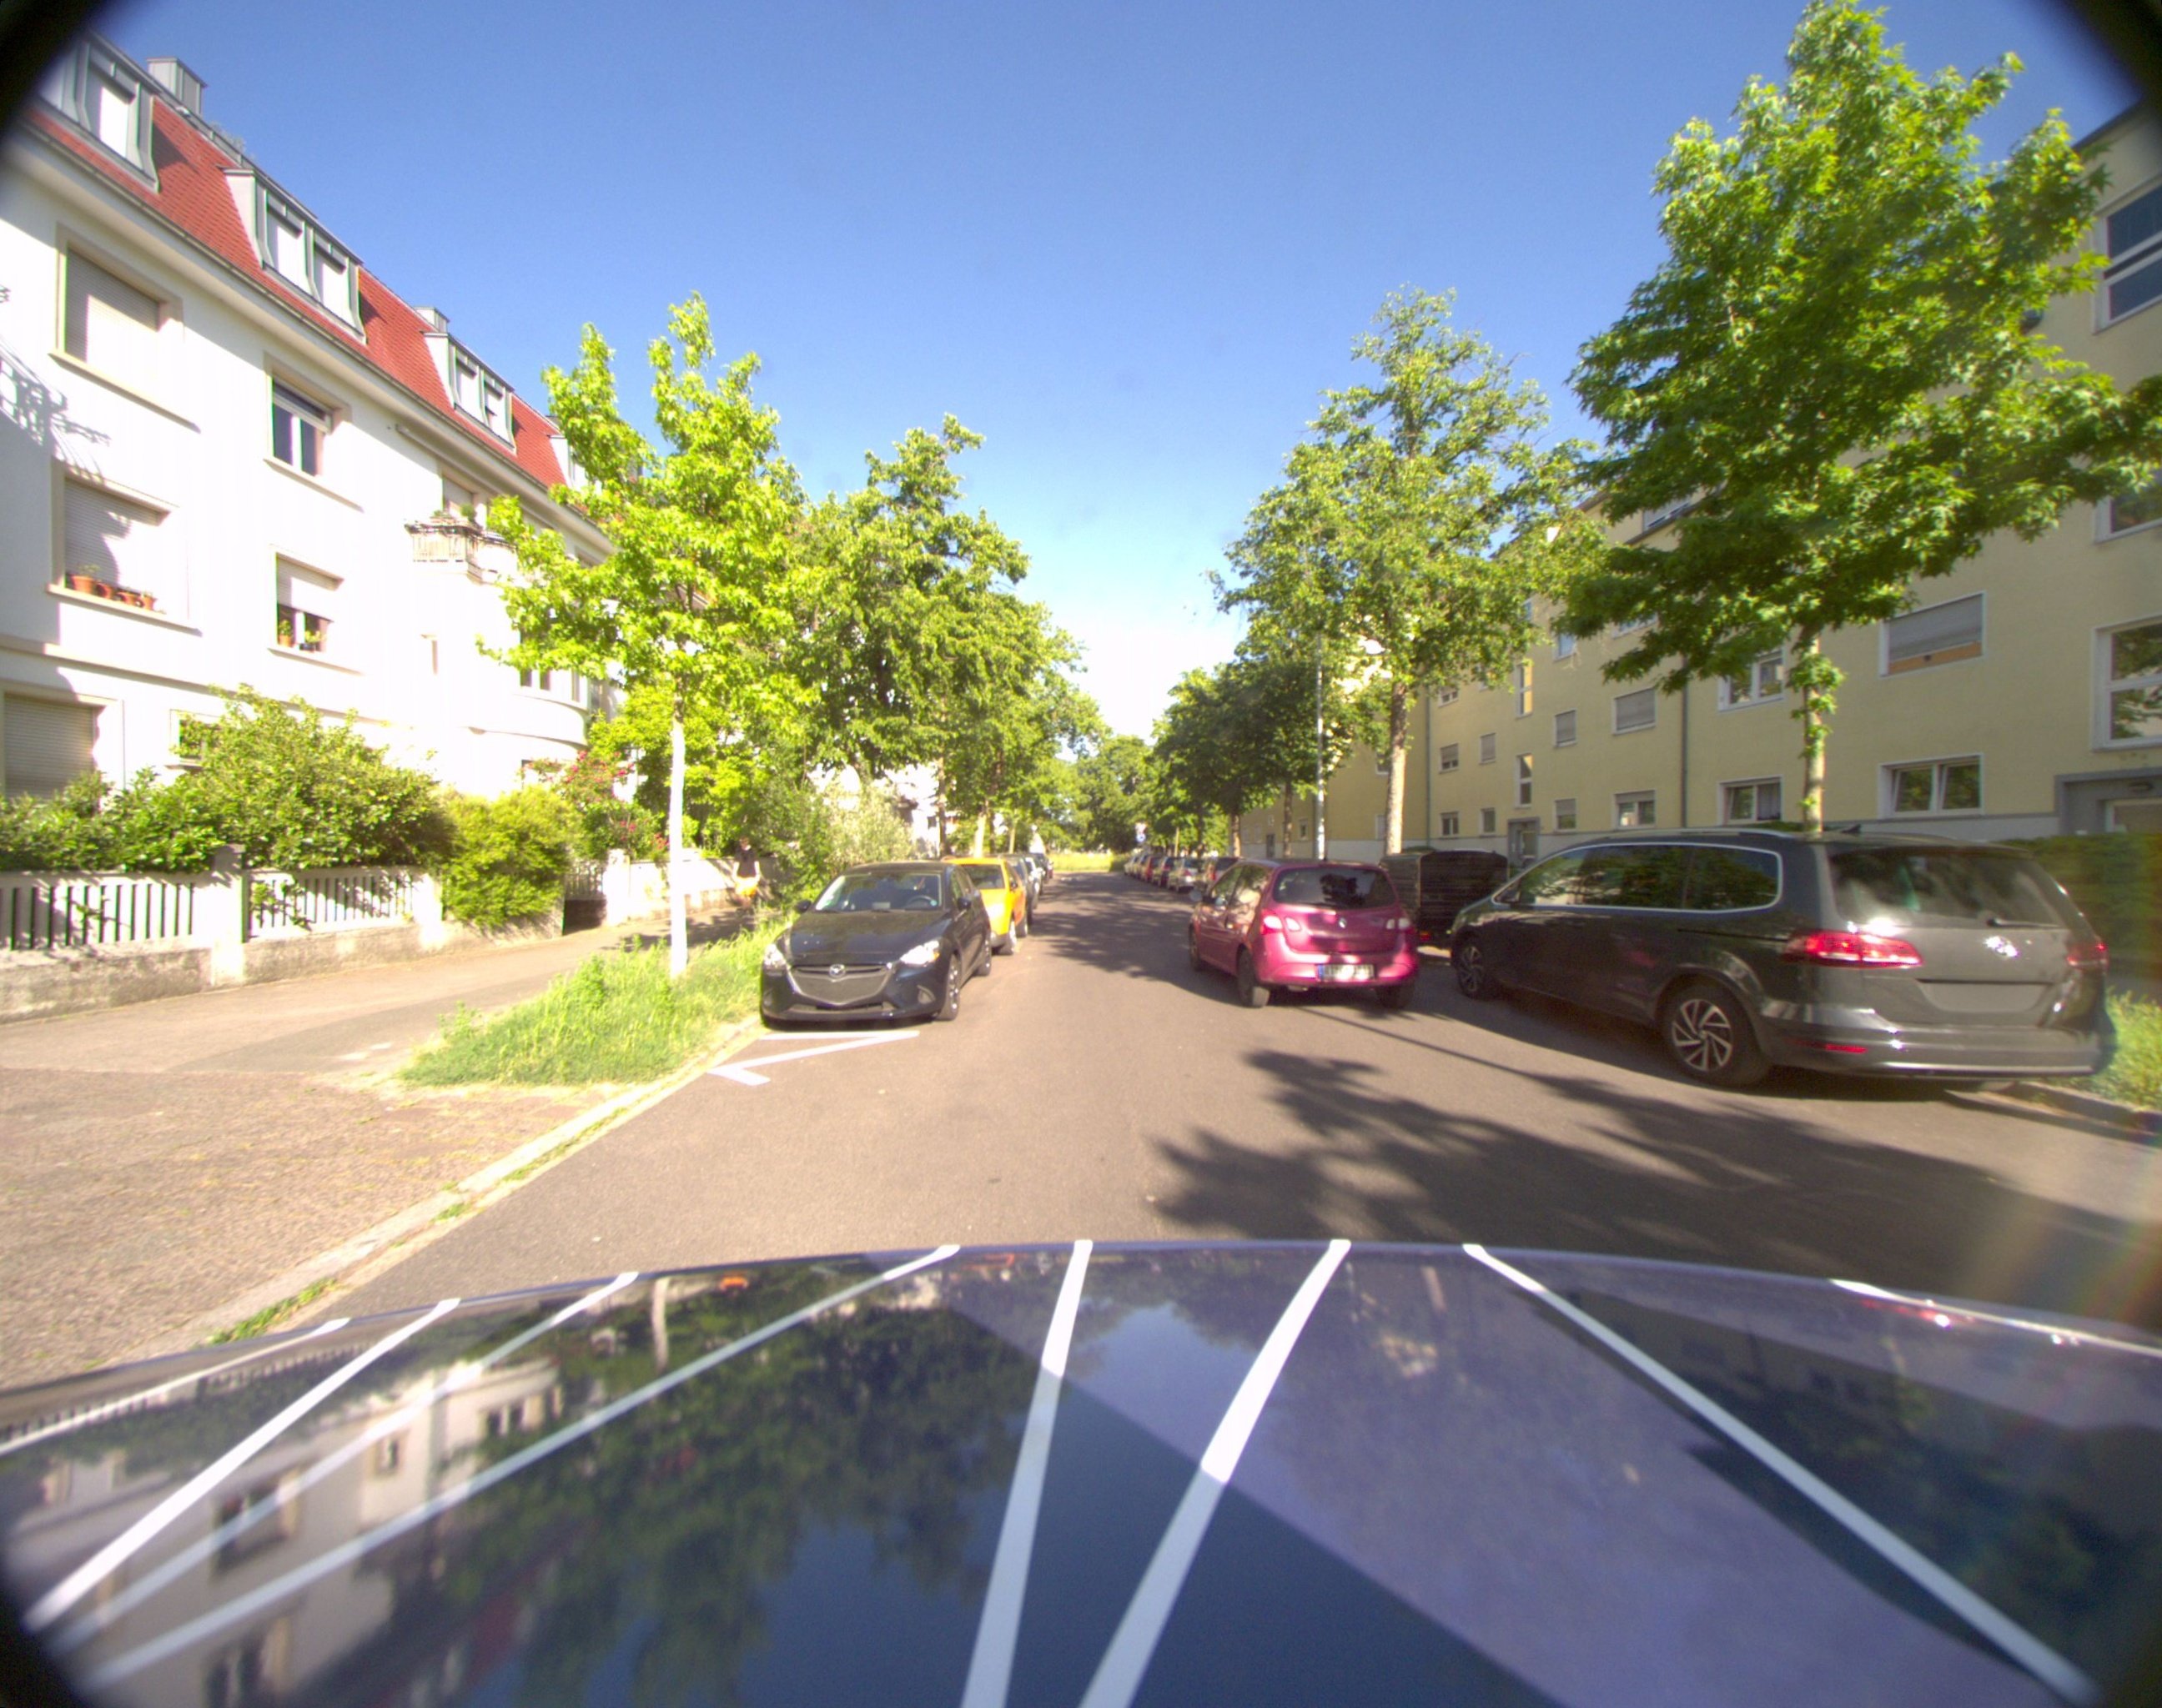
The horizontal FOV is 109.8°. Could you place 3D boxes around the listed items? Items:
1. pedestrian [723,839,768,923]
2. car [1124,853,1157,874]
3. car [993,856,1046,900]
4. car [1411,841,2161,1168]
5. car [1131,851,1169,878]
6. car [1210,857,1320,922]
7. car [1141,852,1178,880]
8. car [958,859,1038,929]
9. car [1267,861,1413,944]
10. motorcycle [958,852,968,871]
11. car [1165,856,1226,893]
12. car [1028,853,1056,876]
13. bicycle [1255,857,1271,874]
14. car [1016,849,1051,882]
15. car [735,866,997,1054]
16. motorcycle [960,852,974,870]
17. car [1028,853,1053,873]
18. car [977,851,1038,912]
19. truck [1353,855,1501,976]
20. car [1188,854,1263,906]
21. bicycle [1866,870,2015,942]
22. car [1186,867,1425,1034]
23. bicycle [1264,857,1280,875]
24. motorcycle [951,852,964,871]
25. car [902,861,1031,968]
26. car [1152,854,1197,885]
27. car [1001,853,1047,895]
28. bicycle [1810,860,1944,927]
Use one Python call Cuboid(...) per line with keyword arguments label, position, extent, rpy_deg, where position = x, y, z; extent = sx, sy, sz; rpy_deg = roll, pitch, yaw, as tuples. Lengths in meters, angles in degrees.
Cuboid(label="pedestrian", position=(-7.188, 0.562, 16.299), extent=(0.624, 1.764, 0.799), rpy_deg=(1, 1, -1))
Cuboid(label="car", position=(4.097, 0.630, 52.916), extent=(1.765, 1.434, 3.992), rpy_deg=(0, 0, -4))
Cuboid(label="car", position=(-2.157, 0.819, 27.603), extent=(1.634, 1.417, 4.367), rpy_deg=(0, 0, -1))
Cuboid(label="car", position=(4.907, 0.796, 6.497), extent=(1.854, 1.671, 4.975), rpy_deg=(2, 0, -1))
Cuboid(label="car", position=(4.170, 0.585, 46.496), extent=(1.696, 1.556, 4.734), rpy_deg=(0, 0, -3))
Cuboid(label="car", position=(4.667, 0.841, 19.994), extent=(1.796, 1.436, 4.688), rpy_deg=(1, 0, 1))
Cuboid(label="car", position=(4.266, 0.653, 41.915), extent=(1.669, 1.477, 3.255), rpy_deg=(0, 0, -1))
Cuboid(label="car", position=(-1.854, 0.855, 17.844), extent=(1.654, 1.420, 3.611), rpy_deg=(0, 0, -3))
Cuboid(label="car", position=(4.990, 0.862, 15.156), extent=(1.525, 1.387, 3.725), rpy_deg=(0, 0, -2))
Cuboid(label="motorcycle", position=(-8.595, 0.539, 55.286), extent=(0.658, 1.272, 1.799), rpy_deg=(1, 0, -8))
Cuboid(label="car", position=(4.667, 0.780, 31.547), extent=(1.750, 1.361, 4.673), rpy_deg=(1, 0, -1))
Cuboid(label="car", position=(-2.517, 0.651, 48.552), extent=(1.616, 1.401, 4.349), rpy_deg=(0, 0, -5))
Cuboid(label="bicycle", position=(10.849, 0.671, 45.311), extent=(0.541, 1.021, 1.748), rpy_deg=(0, 0, 1))
Cuboid(label="car", position=(-2.538, 0.584, 41.450), extent=(1.785, 1.688, 4.296), rpy_deg=(0, 0, -1))
Cuboid(label="car", position=(-1.973, 0.900, 8.215), extent=(1.705, 1.440, 4.081), rpy_deg=(0, 0, -1))
Cuboid(label="motorcycle", position=(-8.544, 0.513, 57.157), extent=(0.973, 1.321, 1.851), rpy_deg=(-1, 1, -6))
Cuboid(label="car", position=(-2.801, 0.601, 53.384), extent=(1.657, 1.394, 4.134), rpy_deg=(0, 0, -2))
Cuboid(label="car", position=(-2.176, 0.750, 22.957), extent=(1.653, 1.646, 3.845), rpy_deg=(-1, 0, -4))
Cuboid(label="truck", position=(4.946, 0.802, 11.128), extent=(1.087, 1.568, 2.432), rpy_deg=(0, 0, 1))
Cuboid(label="car", position=(4.765, 0.803, 25.611), extent=(1.624, 1.506, 4.268), rpy_deg=(2, 0, 0))
Cuboid(label="bicycle", position=(13.189, 0.786, 11.679), extent=(1.844, 1.075, 0.486), rpy_deg=(0, 1, -4))
Cuboid(label="car", position=(2.231, 0.890, 8.370), extent=(1.510, 1.418, 3.176), rpy_deg=(0, 0, -4))
Cuboid(label="bicycle", position=(10.889, 0.682, 43.379), extent=(0.537, 1.021, 1.748), rpy_deg=(0, 0, 1))
Cuboid(label="motorcycle", position=(-8.592, 0.507, 52.924), extent=(0.540, 1.353, 2.089), rpy_deg=(0, 1, -1))
Cuboid(label="car", position=(-1.750, 0.874, 12.784), extent=(1.641, 1.446, 4.099), rpy_deg=(0, 0, -1))
Cuboid(label="car", position=(4.479, 0.710, 37.020), extent=(1.669, 1.450, 3.932), rpy_deg=(0, 0, -1))
Cuboid(label="car", position=(-2.345, 0.794, 32.195), extent=(1.688, 1.579, 4.534), rpy_deg=(-2, 0, -2))
Cuboid(label="bicycle", position=(14.211, 0.698, 13.590), extent=(1.844, 1.075, 0.486), rpy_deg=(-2, 2, 2))
